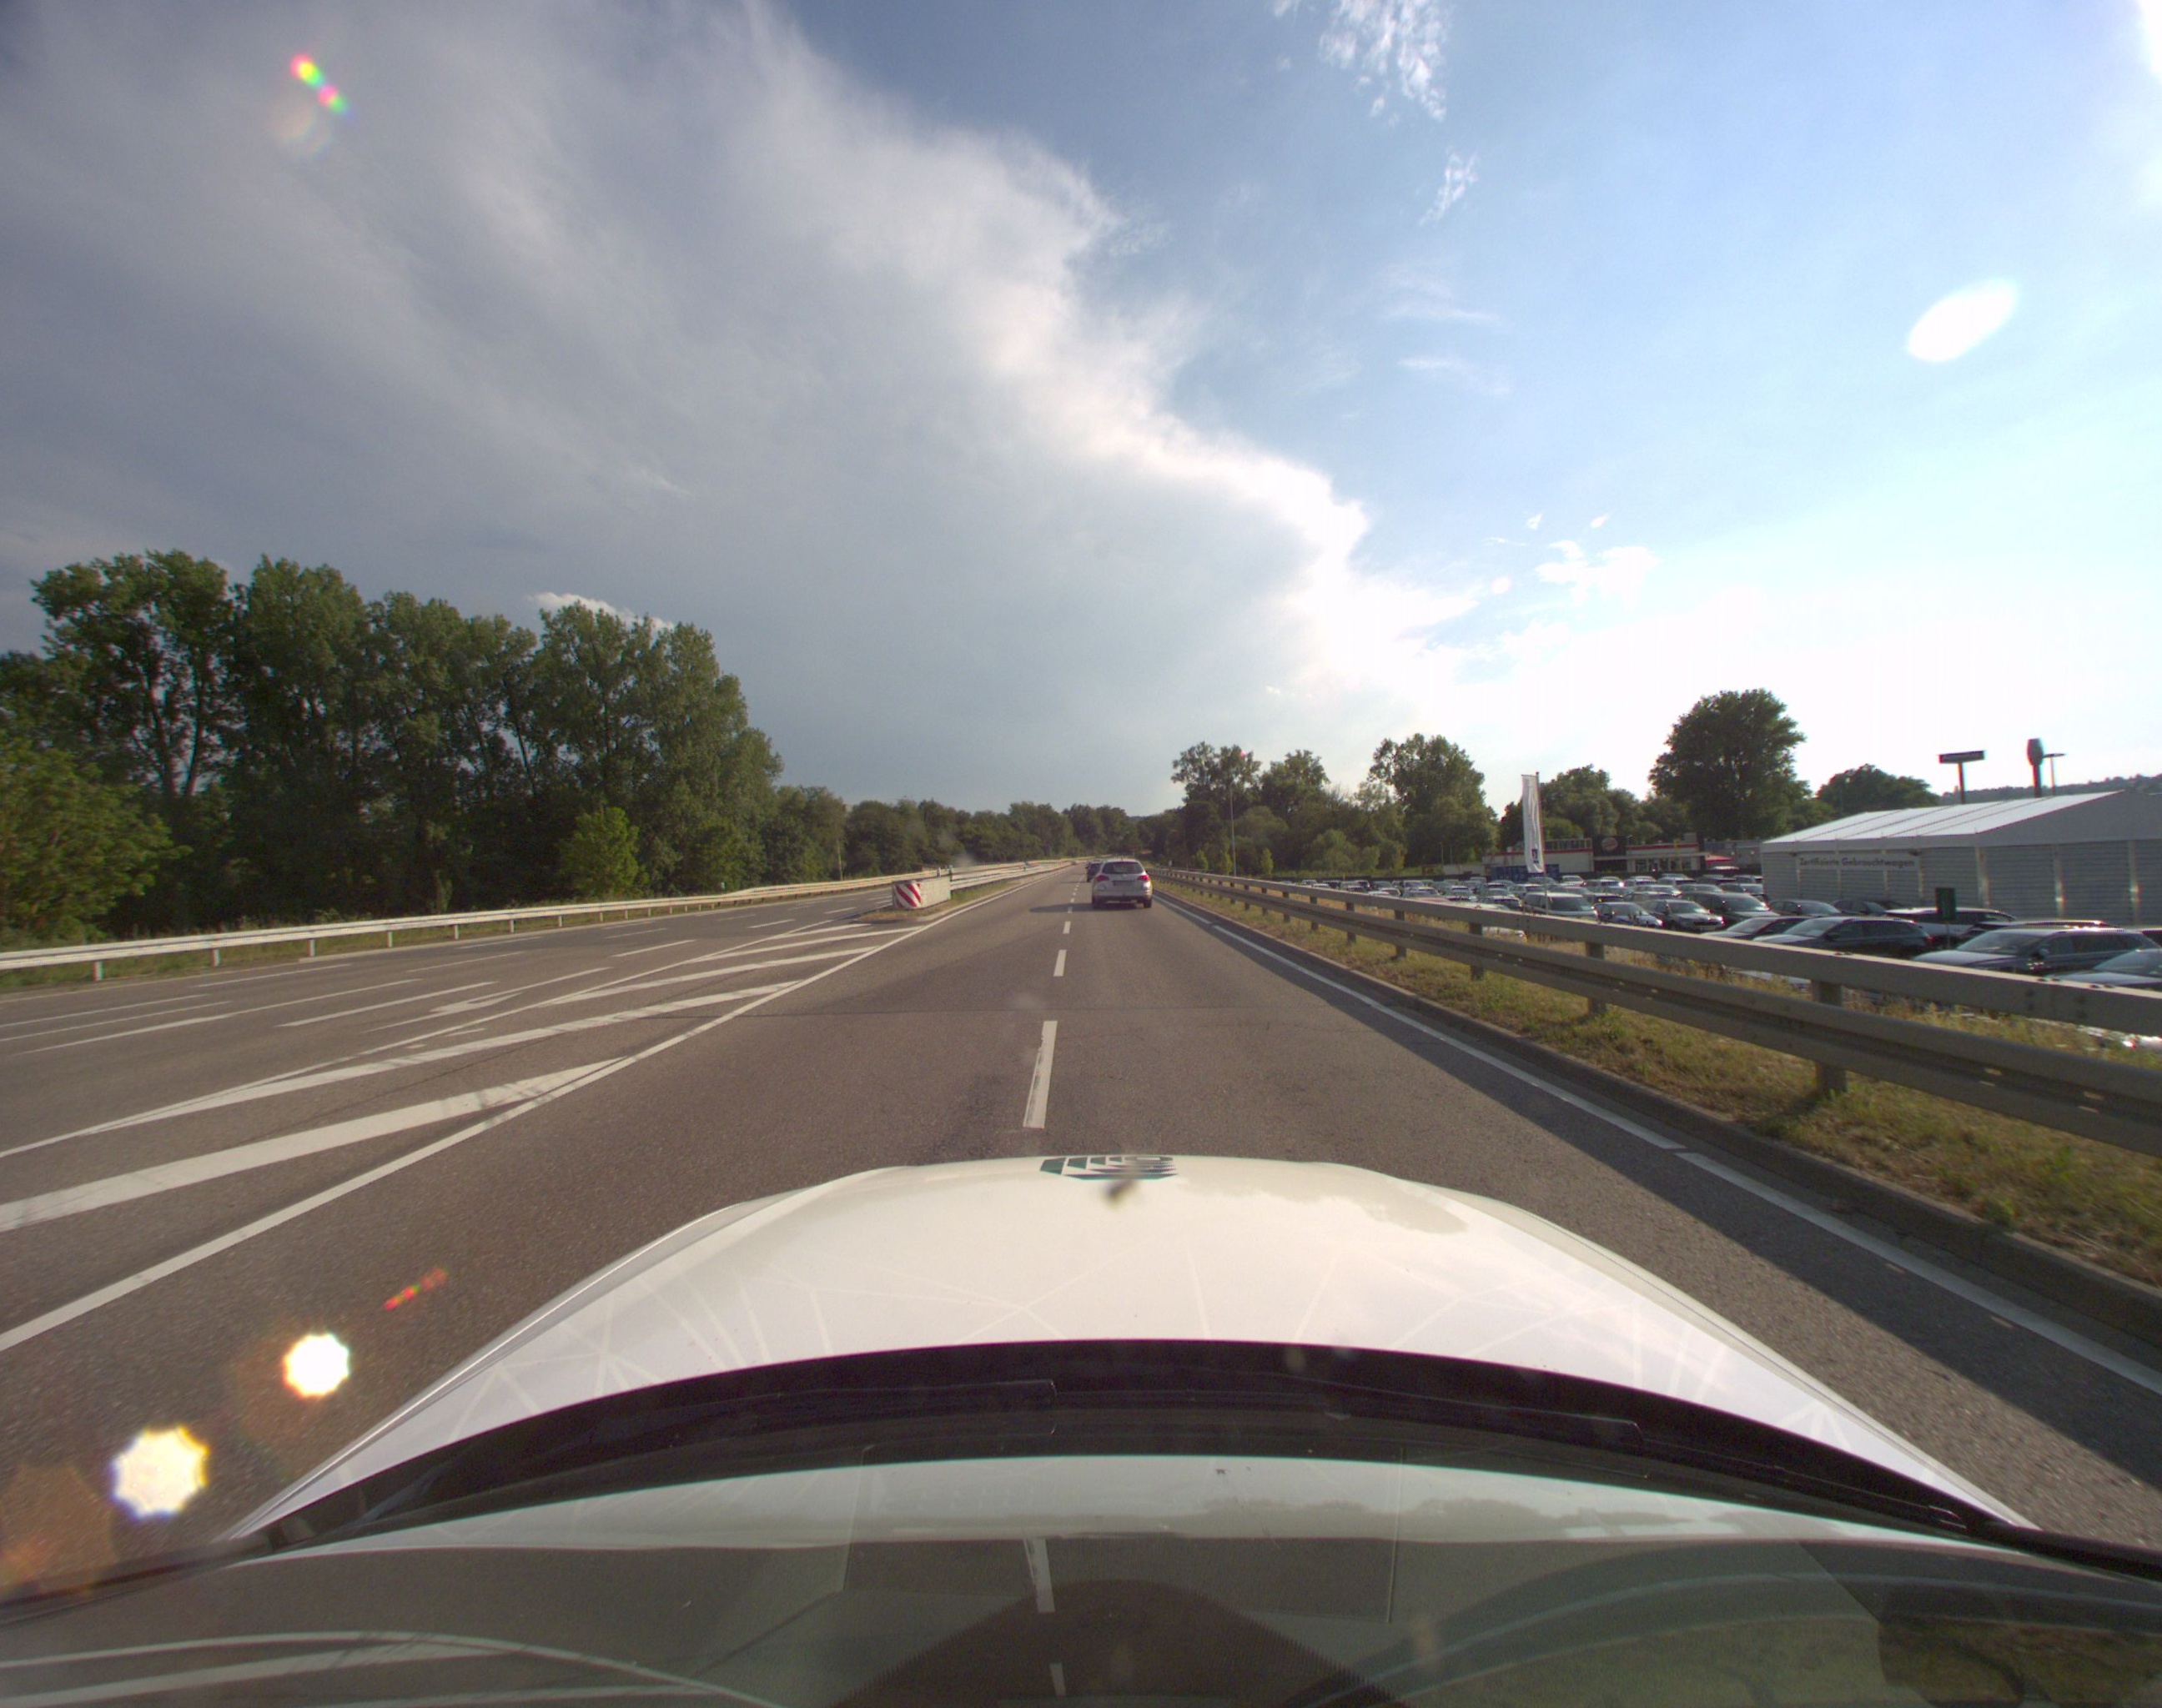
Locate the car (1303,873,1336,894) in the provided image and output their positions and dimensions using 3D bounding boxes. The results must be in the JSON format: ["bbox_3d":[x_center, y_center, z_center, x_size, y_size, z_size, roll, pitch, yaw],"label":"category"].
[{"bbox_3d":[19.524,2.407,66.763,1.767,1.684,4.004,-1,-1,4],"label":"car"}]

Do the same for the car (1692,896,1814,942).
[{"bbox_3d":[27.913,2.653,34.065,1.868,1.636,4.743,-1,-1,11],"label":"car"}]

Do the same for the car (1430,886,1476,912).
[{"bbox_3d":[25.960,3.120,56.917,1.765,1.684,4.008,-1,-1,7],"label":"car"}]

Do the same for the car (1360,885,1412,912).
[{"bbox_3d":[20.958,3.008,56.110,1.829,1.716,4.665,0,-1,0],"label":"car"}]

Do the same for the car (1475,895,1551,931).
[{"bbox_3d":[22.361,3.008,42.394,1.870,1.636,4.737,-1,-1,6],"label":"car"}]

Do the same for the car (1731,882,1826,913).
[{"bbox_3d":[39.895,2.436,46.741,1.870,1.636,4.580,-1,-1,6],"label":"car"}]

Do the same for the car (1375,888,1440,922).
[{"bbox_3d":[17.201,2.660,43.148,1.871,1.636,4.735,-1,-1,4],"label":"car"}]

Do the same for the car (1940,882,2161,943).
[{"bbox_3d":[28.183,1.662,23.518,4.400,1.636,1.890,-1,-1,8],"label":"car"}]

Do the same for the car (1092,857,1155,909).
[{"bbox_3d":[1.264,0.888,25.539,1.803,1.486,4.000,0,-1,1],"label":"car"}]

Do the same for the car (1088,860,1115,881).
[{"bbox_3d":[1.448,1.181,58.627,1.803,1.486,4.000,0,-1,1],"label":"car"}]

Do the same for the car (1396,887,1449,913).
[{"bbox_3d":[23.433,3.118,56.106,1.872,1.636,4.732,-1,-1,2],"label":"car"}]

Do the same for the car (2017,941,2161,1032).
[{"bbox_3d":[21.374,2.589,16.139,3.455,1.574,1.632,-1,-2,8],"label":"car"}]

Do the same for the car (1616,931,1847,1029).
[{"bbox_3d":[14.304,2.695,18.293,1.731,1.626,4.311,0,-1,0],"label":"car"}]

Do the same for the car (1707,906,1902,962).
[{"bbox_3d":[23.346,2.562,26.443,4.400,1.636,1.890,-1,-1,8],"label":"car"}]

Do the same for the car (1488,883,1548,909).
[{"bbox_3d":[30.013,2.886,56.054,1.871,1.636,4.735,-1,-1,5],"label":"car"}]

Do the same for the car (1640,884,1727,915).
[{"bbox_3d":[34.739,2.604,47.140,1.870,1.636,4.737,-1,-1,6],"label":"car"}]

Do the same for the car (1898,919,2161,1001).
[{"bbox_3d":[22.127,2.390,18.788,4.393,1.667,1.845,-1,-1,8],"label":"car"}]

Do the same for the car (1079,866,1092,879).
[{"bbox_3d":[0.573,2.139,95.180,1.487,1.476,3.359,-1,-1,1],"label":"car"}]

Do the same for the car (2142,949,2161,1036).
[{"bbox_3d":[21.561,2.470,13.770,4.393,1.543,1.804,-1,-1,8],"label":"car"}]

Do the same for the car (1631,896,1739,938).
[{"bbox_3d":[25.887,2.664,35.131,1.868,1.522,4.743,-1,-1,11],"label":"car"}]

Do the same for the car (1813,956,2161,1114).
[{"bbox_3d":[14.535,2.673,12.985,1.733,1.626,4.308,0,-1,-2],"label":"car"}]

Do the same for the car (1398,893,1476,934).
[{"bbox_3d":[15.998,2.624,36.828,1.870,1.626,4.737,-1,-1,6],"label":"car"}]

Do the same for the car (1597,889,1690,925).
[{"bbox_3d":[28.754,2.693,41.818,1.870,1.636,4.737,-1,-1,6],"label":"car"}]

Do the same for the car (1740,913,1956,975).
[{"bbox_3d":[22.310,2.593,23.854,4.393,1.607,1.805,-1,0,8],"label":"car"}]

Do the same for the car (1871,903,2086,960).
[{"bbox_3d":[28.456,2.441,25.969,4.400,1.636,1.890,-1,-1,8],"label":"car"}]

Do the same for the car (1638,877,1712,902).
[{"bbox_3d":[40.163,2.370,55.196,1.870,1.636,4.736,-1,-1,6],"label":"car"}]

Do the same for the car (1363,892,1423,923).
[{"bbox_3d":[18.590,3.141,48.716,1.873,1.636,4.730,-1,-1,1],"label":"car"}]

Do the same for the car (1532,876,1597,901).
[{"bbox_3d":[33.279,2.356,56.199,1.872,1.636,4.733,-1,-1,3],"label":"car"}]

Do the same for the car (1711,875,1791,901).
[{"bbox_3d":[45.138,2.252,55.025,1.870,1.636,4.736,-1,-1,6],"label":"car"}]

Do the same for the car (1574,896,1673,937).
[{"bbox_3d":[23.585,2.695,35.628,1.868,1.522,4.743,-1,-1,11],"label":"car"}]

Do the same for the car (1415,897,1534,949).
[{"bbox_3d":[14.388,2.481,30.140,1.876,1.626,4.722,0,-1,-4],"label":"car"}]

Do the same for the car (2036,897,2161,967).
[{"bbox_3d":[27.469,1.926,20.443,4.400,1.636,1.890,-1,-1,8],"label":"car"}]

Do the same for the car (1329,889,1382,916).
[{"bbox_3d":[18.724,3.290,55.739,1.993,1.651,4.728,0,-1,0],"label":"car"}]

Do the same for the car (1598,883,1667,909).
[{"bbox_3d":[38.010,2.880,56.289,1.870,1.636,4.736,-1,-1,6],"label":"car"}]

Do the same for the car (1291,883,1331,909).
[{"bbox_3d":[16.034,2.889,56.997,1.768,1.684,4.000,0,-1,1],"label":"car"}]

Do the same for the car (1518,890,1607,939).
[{"bbox_3d":[21.327,2.605,36.287,1.868,1.931,4.743,-1,-1,11],"label":"car"}]

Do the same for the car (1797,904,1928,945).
[{"bbox_3d":[32.727,2.900,34.287,1.943,1.464,4.007,-1,-1,6],"label":"car"}]
